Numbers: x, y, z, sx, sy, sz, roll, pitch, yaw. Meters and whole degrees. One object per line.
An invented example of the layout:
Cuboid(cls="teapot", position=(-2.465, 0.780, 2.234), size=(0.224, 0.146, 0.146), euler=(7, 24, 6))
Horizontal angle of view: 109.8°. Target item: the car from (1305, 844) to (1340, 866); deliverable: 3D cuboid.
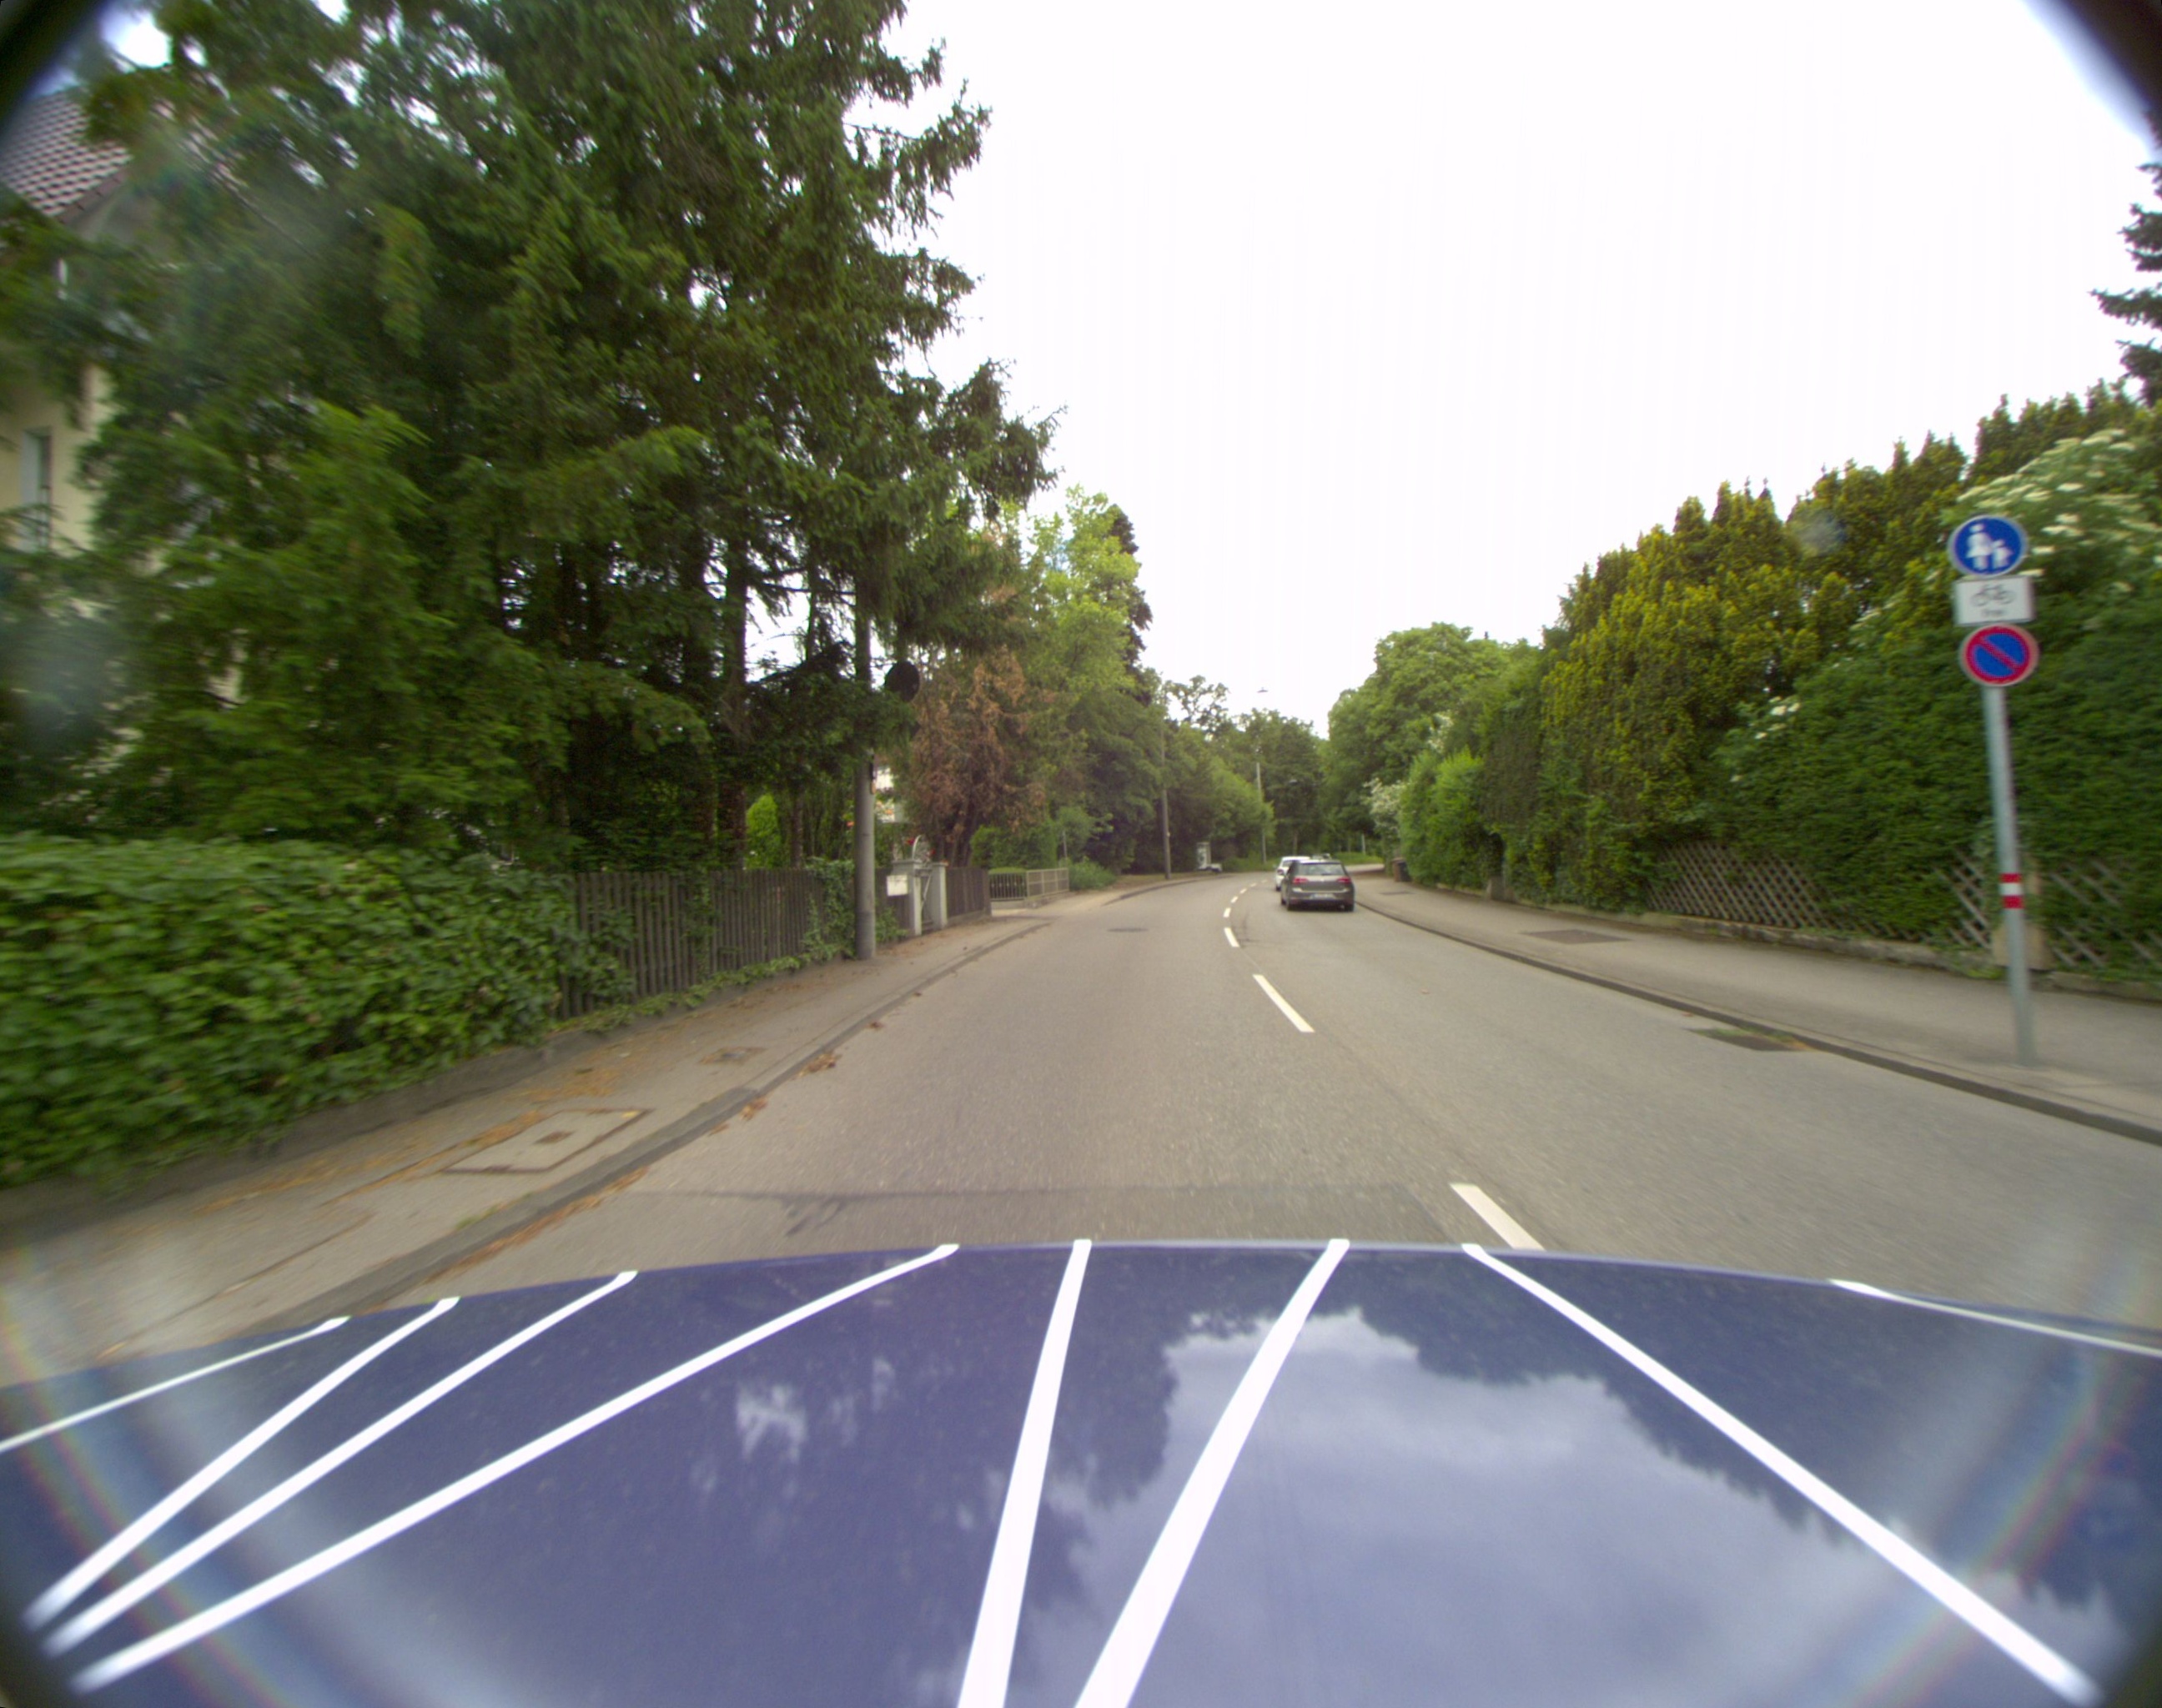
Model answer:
Cuboid(cls="car", position=(19.310, 0.047, 60.677), size=(1.994, 1.609, 4.006), euler=(1, 2, 28))

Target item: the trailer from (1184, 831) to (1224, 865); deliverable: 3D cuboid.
Cuboid(cls="trailer", position=(10.750, -0.490, 66.458), size=(3.119, 2.882, 1.595), euler=(-1, 0, 21))

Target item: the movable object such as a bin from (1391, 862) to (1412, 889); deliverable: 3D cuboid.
Cuboid(cls="movable object such as a bin", position=(14.310, 0.948, 33.941), size=(0.742, 1.134, 0.647), euler=(-4, -1, 16))

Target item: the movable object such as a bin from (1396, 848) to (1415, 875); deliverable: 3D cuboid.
Cuboid(cls="movable object such as a bin", position=(14.124, 0.336, 33.059), size=(0.630, 1.138, 0.647), euler=(-4, -1, 16))

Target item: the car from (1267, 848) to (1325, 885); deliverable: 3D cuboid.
Cuboid(cls="car", position=(9.132, 0.520, 32.551), size=(1.906, 1.445, 3.799), euler=(-2, -1, 9))

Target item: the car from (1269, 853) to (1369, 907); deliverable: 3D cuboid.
Cuboid(cls="car", position=(6.642, 0.683, 21.629), size=(1.917, 1.390, 3.911), euler=(0, 0, 5))
